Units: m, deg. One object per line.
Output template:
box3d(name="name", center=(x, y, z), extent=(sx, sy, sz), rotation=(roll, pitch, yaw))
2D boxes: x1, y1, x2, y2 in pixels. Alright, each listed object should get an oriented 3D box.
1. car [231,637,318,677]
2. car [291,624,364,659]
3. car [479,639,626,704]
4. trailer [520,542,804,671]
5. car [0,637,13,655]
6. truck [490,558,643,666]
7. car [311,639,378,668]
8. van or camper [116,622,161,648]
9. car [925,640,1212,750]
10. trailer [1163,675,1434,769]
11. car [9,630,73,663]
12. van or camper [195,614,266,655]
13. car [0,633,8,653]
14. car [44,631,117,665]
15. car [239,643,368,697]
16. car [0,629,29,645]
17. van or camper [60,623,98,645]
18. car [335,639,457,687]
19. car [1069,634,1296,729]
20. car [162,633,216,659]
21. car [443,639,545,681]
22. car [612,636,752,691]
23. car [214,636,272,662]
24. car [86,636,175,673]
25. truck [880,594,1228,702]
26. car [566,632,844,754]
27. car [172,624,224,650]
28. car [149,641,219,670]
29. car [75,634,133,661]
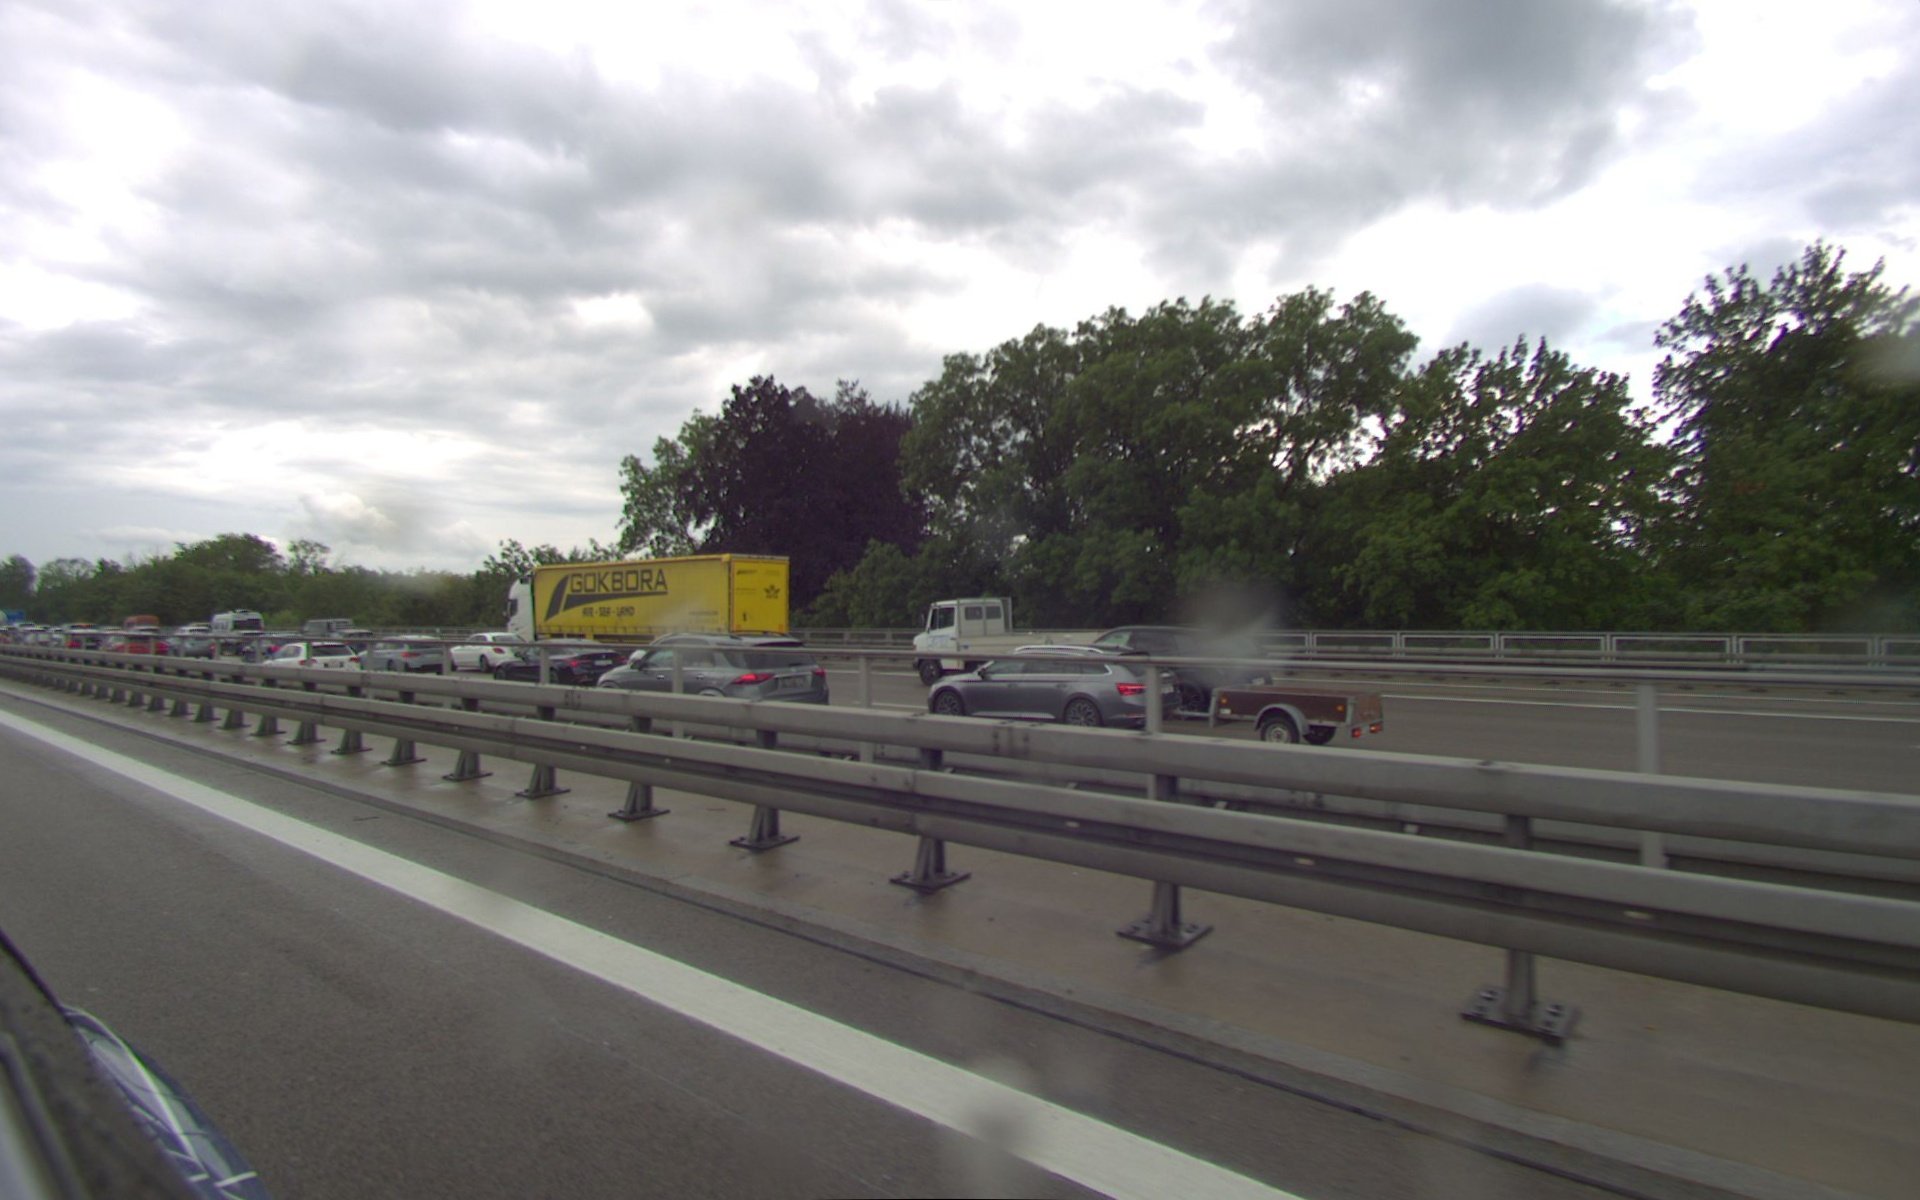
box3d(name="car", center=(-29.559, 2.411, 43.596), extent=(4.570, 1.624, 1.762), rotation=(-1, -2, 38))
box3d(name="car", center=(-37.972, 2.436, 60.714), extent=(5.405, 2.029, 1.974), rotation=(-1, -2, 38))
box3d(name="car", center=(-11.010, 1.860, 27.243), extent=(4.413, 1.589, 1.731), rotation=(-1, -2, 39))
box3d(name="trailer", center=(-12.081, 0.392, 39.406), extent=(14.498, 4.260, 3.214), rotation=(-1, -2, 40))
box3d(name="car", center=(-88.605, 4.248, 92.983), extent=(3.994, 1.648, 1.661), rotation=(-3, -3, 38))
box3d(name="truck", center=(-17.033, 0.559, 43.627), extent=(6.876, 4.282, 3.214), rotation=(-2, -2, 40))
box3d(name="car", center=(-29.735, 2.539, 48.877), extent=(3.994, 1.310, 1.433), rotation=(-1, -2, 38))
box3d(name="van or camper", center=(-74.713, 3.161, 92.026), extent=(6.227, 2.322, 1.921), rotation=(-1, -2, 39))
box3d(name="car", center=(1.736, 1.500, 17.266), extent=(4.683, 1.589, 1.731), rotation=(-1, -2, 39))
box3d(name="trailer", center=(4.855, 1.689, 14.692), extent=(3.338, 1.045, 1.707), rotation=(-1, -2, 40))
box3d(name="car", center=(-54.072, 2.687, 59.516), extent=(5.700, 1.840, 1.848), rotation=(-2, -2, 38))
box3d(name="van or camper", center=(-52.026, 2.486, 72.108), extent=(7.221, 2.786, 2.180), rotation=(-2, -2, 38))
box3d(name="car", center=(-70.341, 3.120, 72.843), extent=(5.357, 1.403, 1.856), rotation=(-2, -2, 38))
box3d(name="car", center=(-44.855, 2.417, 51.599), extent=(5.166, 1.682, 1.849), rotation=(-2, -2, 38))
box3d(name="car", center=(-19.354, 2.004, 29.767), extent=(4.815, 1.393, 1.745), rotation=(-1, -2, 39))
box3d(name="car", center=(-101.537, 3.950, 108.491), extent=(3.995, 1.721, 1.974), rotation=(-1, -2, 38))
box3d(name="van or camper", center=(-94.374, 3.603, 108.378), extent=(5.927, 2.347, 2.026), rotation=(-1, -2, 39))
box3d(name="car", center=(-19.677, 2.133, 35.224), extent=(5.212, 1.491, 1.791), rotation=(-1, -2, 38))
box3d(name="car", center=(4.162, 1.470, 19.309), extent=(3.997, 1.608, 1.518), rotation=(-2, -2, 40))
box3d(name="car", center=(-50.810, 3.015, 66.685), extent=(4.456, 1.625, 1.711), rotation=(-1, -2, 38))
box3d(name="car", center=(-17.569, 2.207, 38.083), extent=(4.046, 1.449, 1.805), rotation=(-1, -2, 37))
box3d(name="car", center=(-8.248, 1.819, 29.829), extent=(4.413, 1.490, 1.731), rotation=(-1, -2, 39))
box3d(name="car", center=(-41.962, 2.848, 59.208), extent=(3.994, 1.429, 1.618), rotation=(-1, -2, 38))
box3d(name="car", center=(-36.071, 2.334, 43.964), extent=(4.835, 1.474, 1.975), rotation=(-2, -2, 38))
box3d(name="truck", center=(2.125, 1.187, 26.601), extent=(9.267, 2.389, 2.653), rotation=(-1, -2, 40))
box3d(name="car", center=(-4.501, 1.450, 17.358), extent=(5.327, 1.780, 1.894), rotation=(-2, -2, 40))
box3d(name="car", center=(-60.144, 2.888, 79.866), extent=(4.752, 1.960, 2.057), rotation=(-1, -2, 38))
box3d(name="car", center=(-40.608, 2.872, 52.916), extent=(4.469, 1.436, 1.799), rotation=(-1, -2, 38))
box3d(name="car", center=(-53.625, 2.923, 63.358), extent=(4.456, 1.625, 1.845), rotation=(-2, -2, 38))
